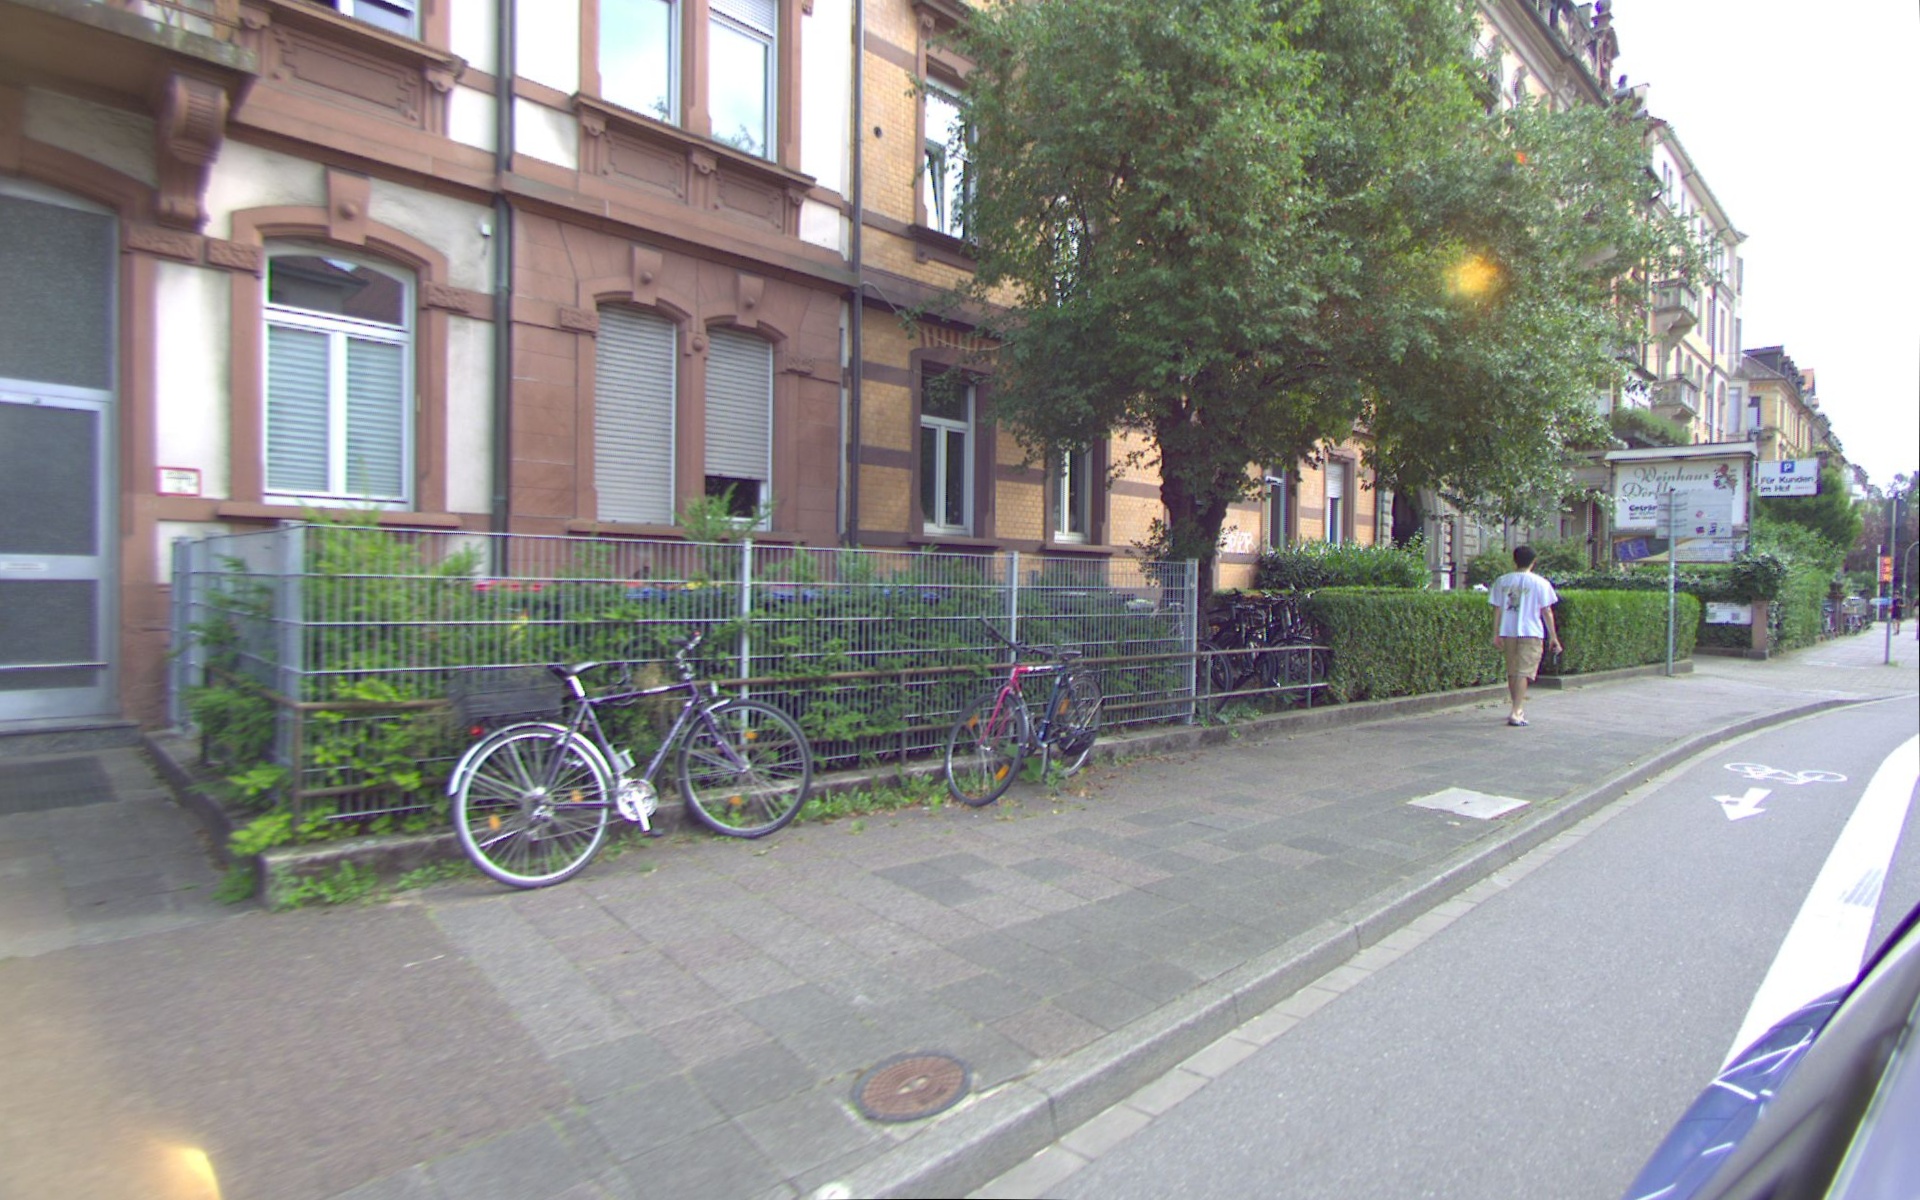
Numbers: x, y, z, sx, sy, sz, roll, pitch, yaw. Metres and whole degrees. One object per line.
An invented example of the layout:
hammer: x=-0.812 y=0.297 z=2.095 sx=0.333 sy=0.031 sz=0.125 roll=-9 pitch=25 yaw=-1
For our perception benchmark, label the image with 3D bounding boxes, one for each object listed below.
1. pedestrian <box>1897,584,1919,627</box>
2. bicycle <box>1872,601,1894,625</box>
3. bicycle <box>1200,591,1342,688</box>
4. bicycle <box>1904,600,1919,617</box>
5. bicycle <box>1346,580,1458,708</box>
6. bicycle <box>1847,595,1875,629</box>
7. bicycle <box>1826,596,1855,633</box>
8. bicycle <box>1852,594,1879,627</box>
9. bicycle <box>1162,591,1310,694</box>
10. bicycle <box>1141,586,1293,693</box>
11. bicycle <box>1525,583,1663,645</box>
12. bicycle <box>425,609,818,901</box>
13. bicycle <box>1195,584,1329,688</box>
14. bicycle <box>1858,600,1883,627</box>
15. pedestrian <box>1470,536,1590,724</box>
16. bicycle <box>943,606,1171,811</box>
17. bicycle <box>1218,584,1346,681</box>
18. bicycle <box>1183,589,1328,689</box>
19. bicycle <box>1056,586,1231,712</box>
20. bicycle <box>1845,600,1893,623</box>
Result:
pedestrian: x=36.807 y=0.194 z=39.162 sx=0.821 sy=1.643 sz=0.731 roll=0 pitch=1 yaw=-44
bicycle: x=39.964 y=0.548 z=43.815 sx=0.579 sy=0.994 sz=1.645 roll=7 pitch=5 yaw=44
bicycle: x=3.601 y=0.431 z=11.813 sx=0.437 sy=1.021 sz=1.546 roll=0 pitch=1 yaw=-45
bicycle: x=62.775 y=0.555 z=66.715 sx=1.843 sy=1.127 sz=0.630 roll=0 pitch=1 yaw=-44
bicycle: x=4.833 y=0.443 z=11.024 sx=1.523 sy=1.298 sz=0.517 roll=0 pitch=1 yaw=-42
bicycle: x=31.935 y=0.401 z=35.849 sx=0.579 sy=1.125 sz=1.645 roll=7 pitch=5 yaw=44
bicycle: x=28.074 y=0.458 z=32.262 sx=0.579 sy=1.126 sz=1.645 roll=2 pitch=1 yaw=44
bicycle: x=33.306 y=0.369 z=37.224 sx=0.579 sy=1.125 sz=1.645 roll=7 pitch=5 yaw=44
bicycle: x=3.019 y=0.437 z=11.176 sx=0.437 sy=1.021 sz=1.546 roll=0 pitch=1 yaw=-45
bicycle: x=2.685 y=0.381 z=10.690 sx=0.437 sy=1.021 sz=1.546 roll=0 pitch=1 yaw=-45
bicycle: x=14.771 y=0.296 z=23.654 sx=2.624 sy=1.328 sz=0.758 roll=2 pitch=1 yaw=44
bicycle: x=-1.552 y=0.621 z=4.824 sx=1.644 sy=1.120 sz=0.671 roll=0 pitch=1 yaw=-44
bicycle: x=3.770 y=0.416 z=12.708 sx=0.509 sy=1.196 sz=1.546 roll=0 pitch=1 yaw=-45
bicycle: x=35.795 y=0.528 z=39.793 sx=0.579 sy=0.994 sz=1.645 roll=7 pitch=5 yaw=44
pedestrian: x=5.718 y=0.272 z=10.153 sx=0.932 sy=1.776 sz=0.732 roll=0 pitch=1 yaw=-39
bicycle: x=0.649 y=0.615 z=6.388 sx=1.524 sy=1.101 sz=0.509 roll=0 pitch=4 yaw=-44
bicycle: x=4.276 y=0.403 z=13.513 sx=0.509 sy=1.196 sz=1.546 roll=0 pitch=1 yaw=-45
bicycle: x=3.327 y=0.408 z=11.473 sx=0.437 sy=1.021 sz=1.546 roll=0 pitch=1 yaw=-45
bicycle: x=1.635 y=0.400 z=9.196 sx=0.502 sy=1.021 sz=1.546 roll=0 pitch=1 yaw=-45
bicycle: x=45.909 y=0.565 z=51.103 sx=1.838 sy=1.127 sz=0.631 roll=1 pitch=1 yaw=-1
